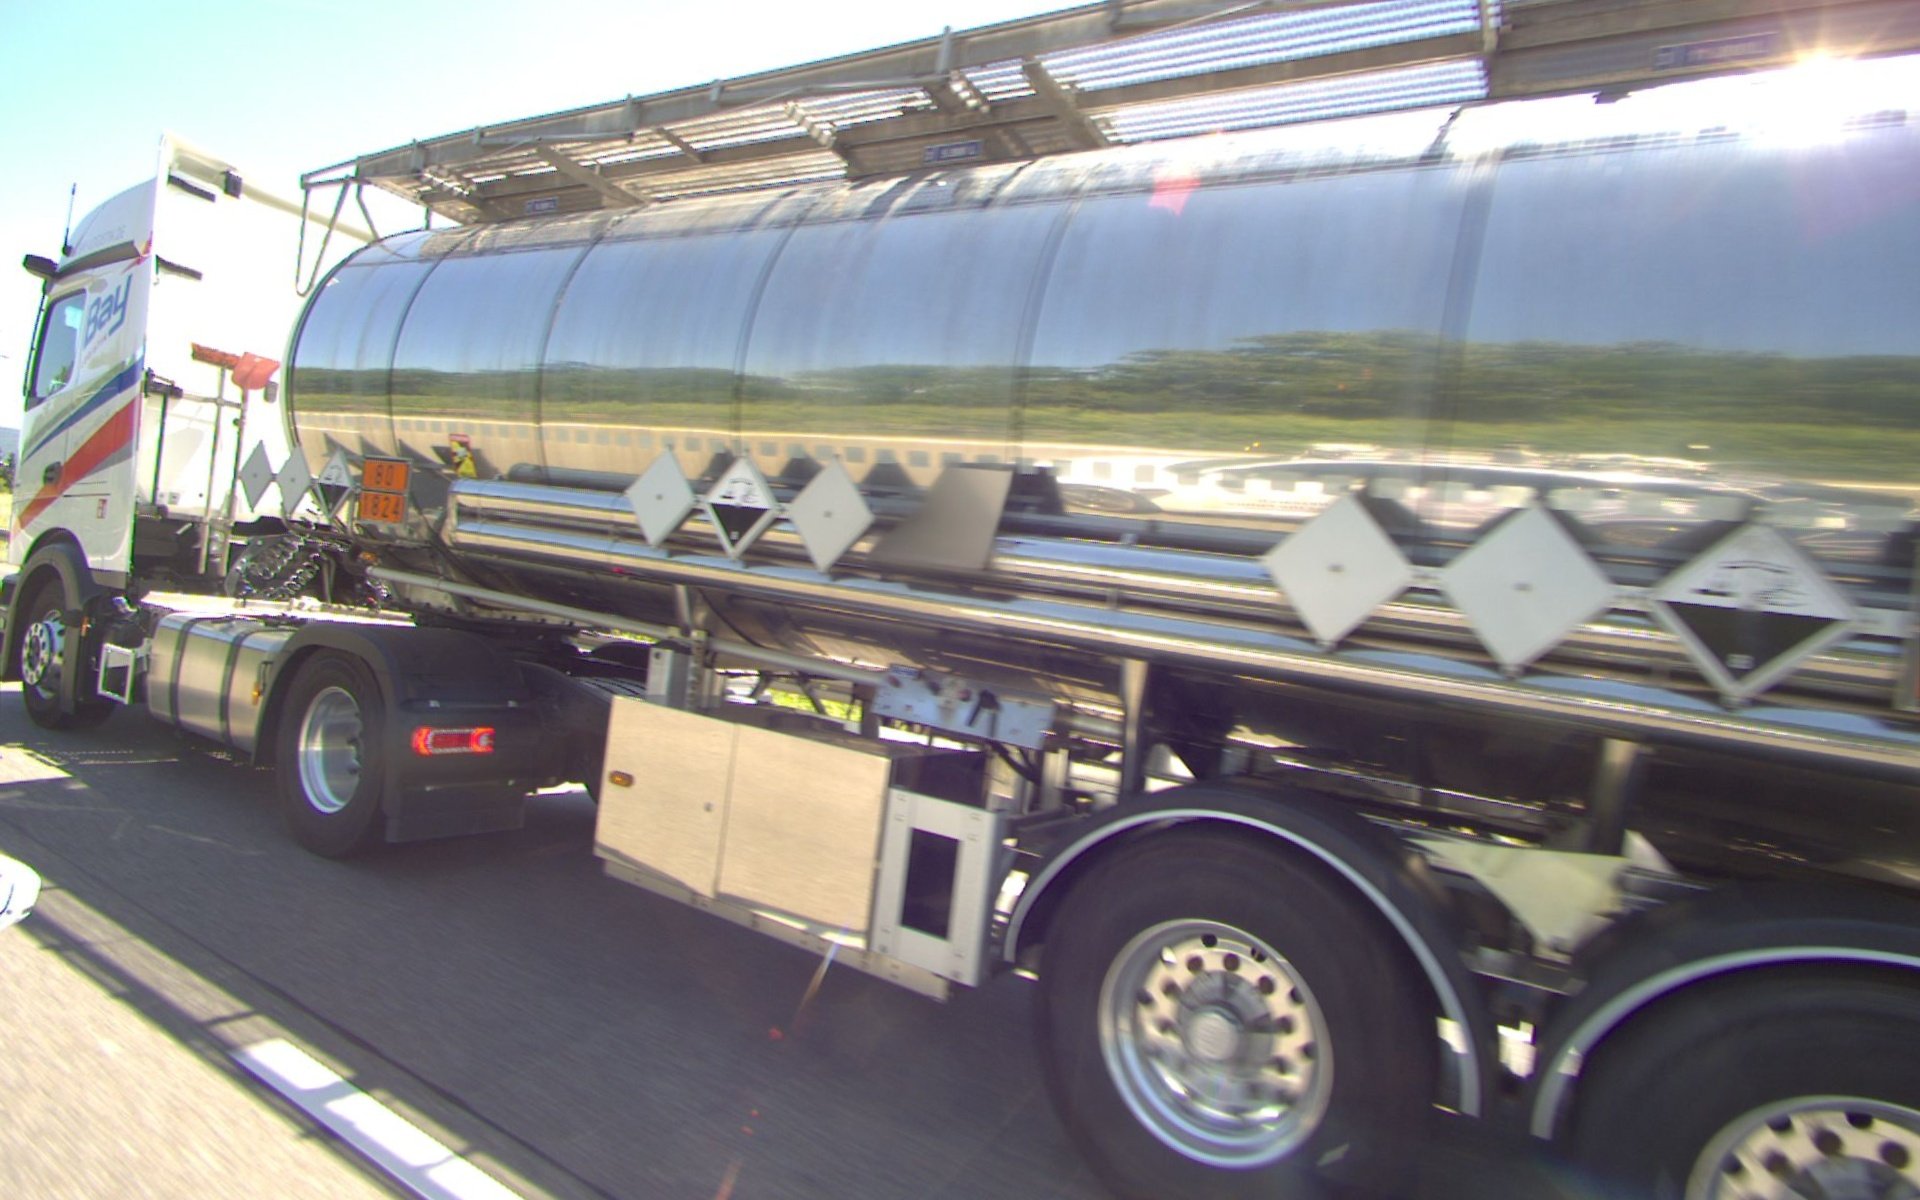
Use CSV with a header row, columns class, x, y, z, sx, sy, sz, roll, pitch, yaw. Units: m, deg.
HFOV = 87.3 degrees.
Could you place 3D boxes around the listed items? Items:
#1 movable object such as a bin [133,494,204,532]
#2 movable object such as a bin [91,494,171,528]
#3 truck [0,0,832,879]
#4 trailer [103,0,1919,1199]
class,x,y,z,sx,sy,sz,roll,pitch,yaw
movable object such as a bin,-97.583,-10.685,124.108,2.457,3.780,6.341,7,1,37
movable object such as a bin,-106.627,-11.412,129.498,2.239,3.445,7.540,7,1,37
truck,-4.437,-0.986,7.227,6.286,4.119,2.578,7,-1,31
trailer,0.543,-0.399,4.174,10.917,4.121,2.585,7,-1,31
